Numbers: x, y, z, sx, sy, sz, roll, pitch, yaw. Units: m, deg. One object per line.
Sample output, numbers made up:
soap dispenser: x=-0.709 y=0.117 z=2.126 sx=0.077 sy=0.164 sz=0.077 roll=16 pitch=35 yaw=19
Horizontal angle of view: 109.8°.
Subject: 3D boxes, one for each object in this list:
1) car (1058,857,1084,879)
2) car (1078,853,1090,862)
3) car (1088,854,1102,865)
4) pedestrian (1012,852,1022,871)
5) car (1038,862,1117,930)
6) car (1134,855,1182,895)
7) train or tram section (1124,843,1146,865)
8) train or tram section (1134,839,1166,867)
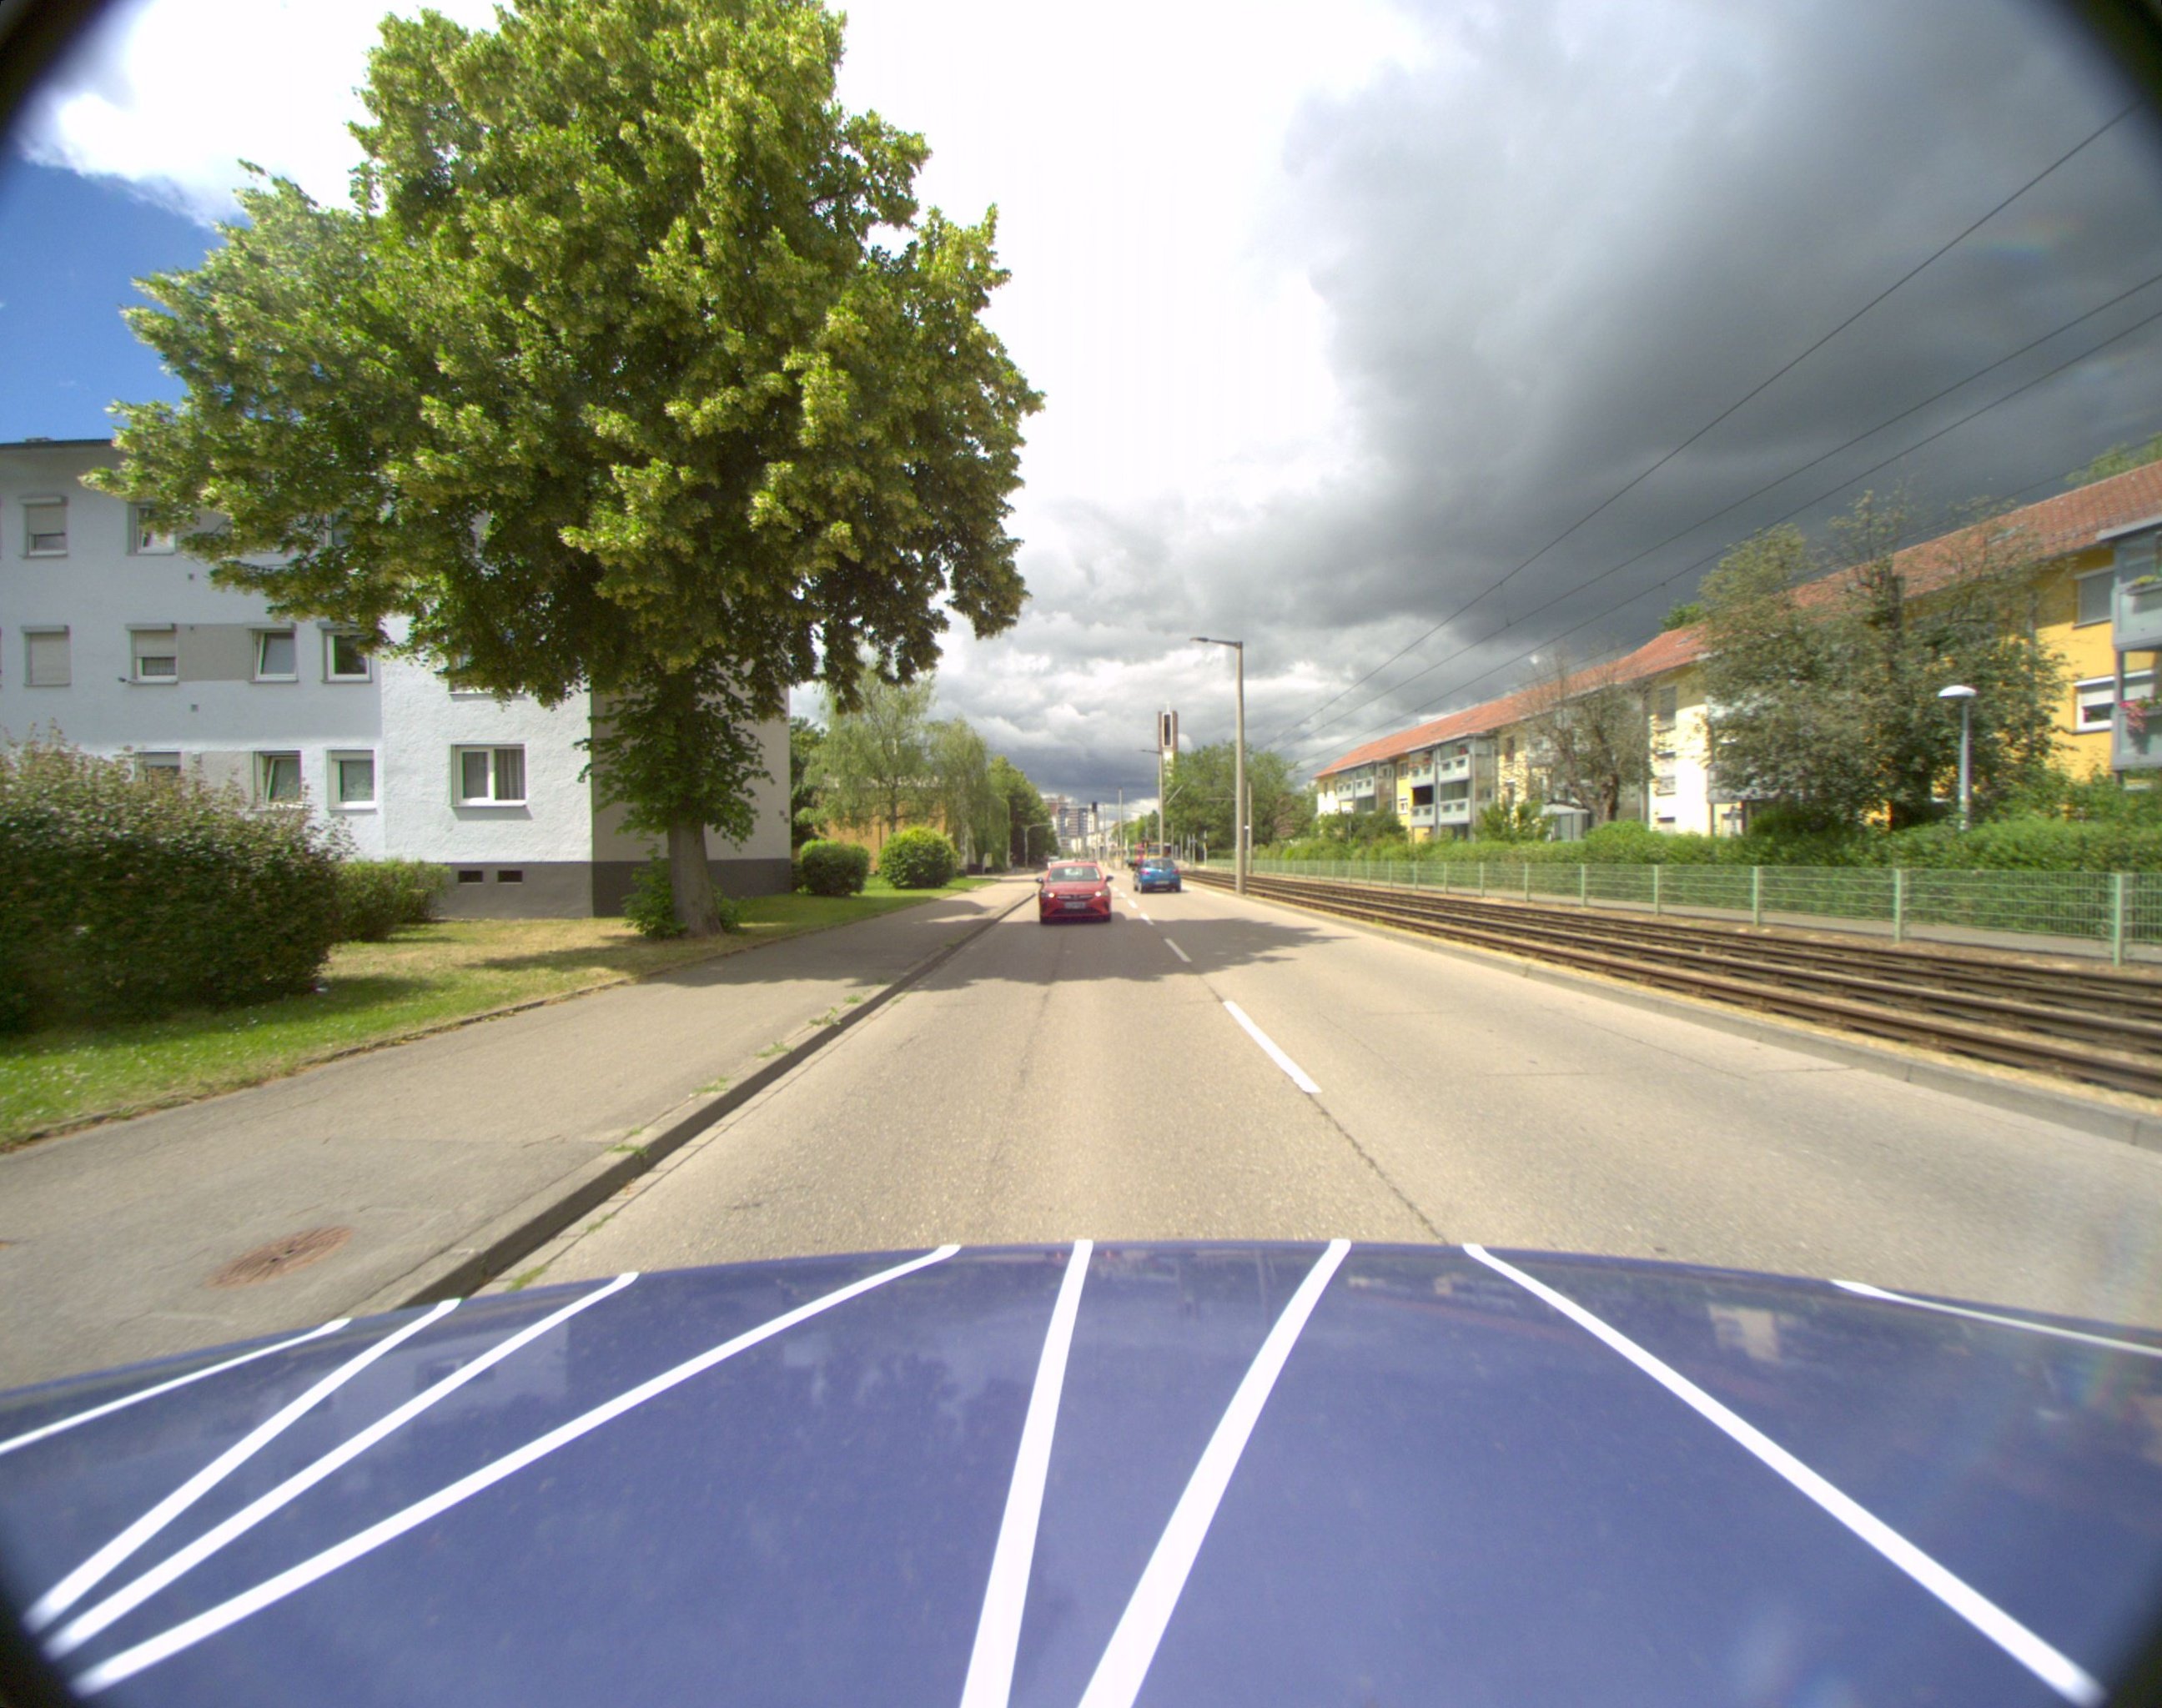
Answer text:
car: x=-0.705 y=0.996 z=55.692 sx=1.756 sy=1.433 sz=4.226 roll=-1 pitch=0 yaw=1
car: x=0.436 y=0.592 z=129.621 sx=1.765 sy=1.543 sz=3.999 roll=-2 pitch=0 yaw=-3
car: x=1.971 y=0.813 z=109.161 sx=1.633 sy=1.424 sz=4.166 roll=-2 pitch=0 yaw=-3
pedestrian: x=-6.138 y=0.725 z=73.103 sx=0.811 sy=1.761 sz=0.817 roll=2 pitch=1 yaw=5
car: x=-0.047 y=0.980 z=19.389 sx=1.756 sy=1.433 sz=4.226 roll=-1 pitch=0 yaw=1
car: x=3.210 y=0.843 z=32.174 sx=1.628 sy=1.516 sz=3.581 roll=-1 pitch=0 yaw=0
train or tram section: x=10.196 y=-0.062 z=143.961 sx=2.988 sy=3.840 sz=11.784 roll=-2 pitch=0 yaw=-1
train or tram section: x=10.553 y=-0.137 z=118.603 sx=2.988 sy=3.840 sz=18.535 roll=-2 pitch=0 yaw=-1
